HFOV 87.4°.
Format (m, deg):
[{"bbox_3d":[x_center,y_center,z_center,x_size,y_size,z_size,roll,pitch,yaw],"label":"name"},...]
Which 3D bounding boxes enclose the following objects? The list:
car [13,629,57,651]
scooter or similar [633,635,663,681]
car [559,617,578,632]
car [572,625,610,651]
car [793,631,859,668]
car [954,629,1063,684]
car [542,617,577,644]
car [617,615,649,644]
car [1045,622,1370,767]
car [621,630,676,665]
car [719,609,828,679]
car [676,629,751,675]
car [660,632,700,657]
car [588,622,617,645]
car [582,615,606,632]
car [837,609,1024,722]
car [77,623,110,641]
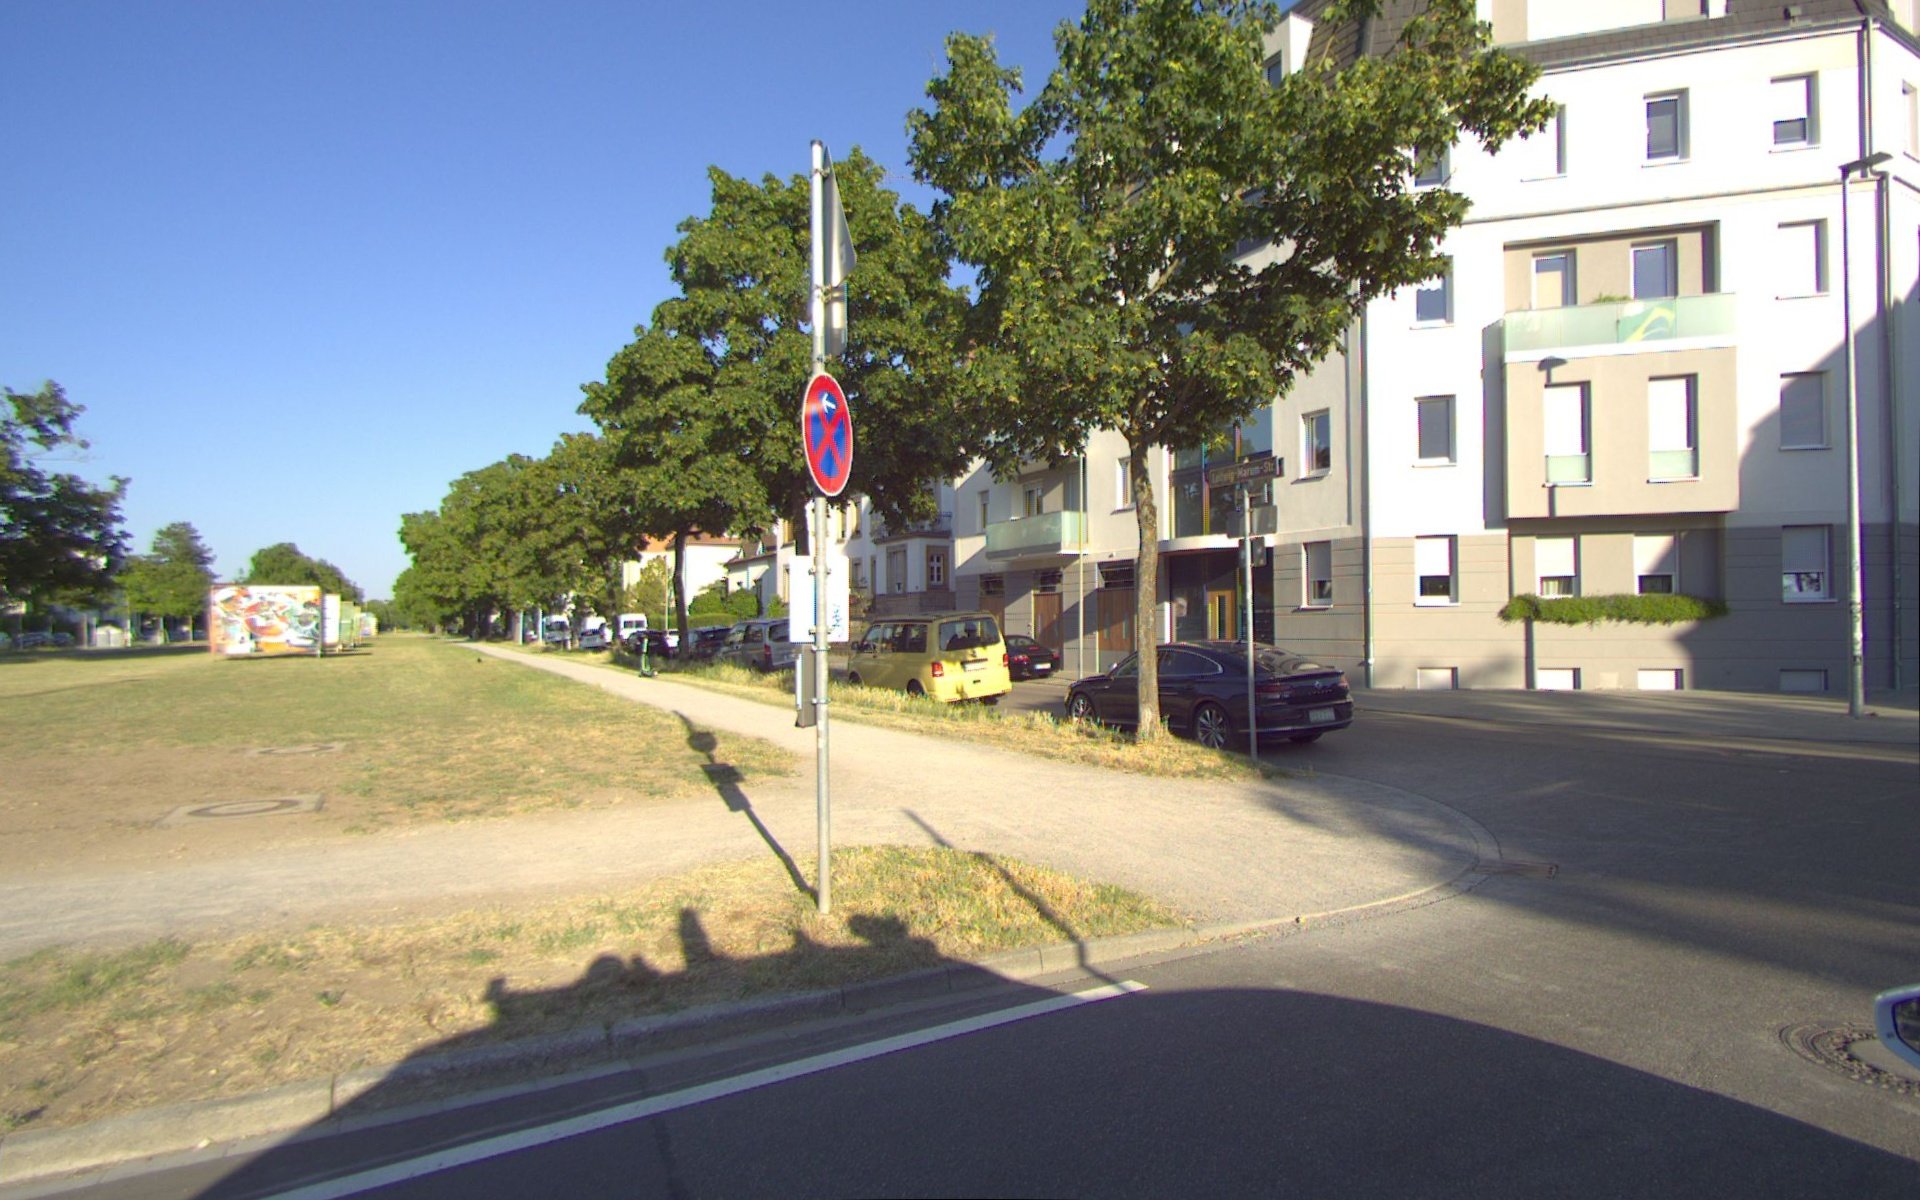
[{"bbox_3d":[-75.872,3.262,82.456,1.829,1.718,3.967,-2,0,-31],"label":"car"},{"bbox_3d":[-8.017,1.469,25.797,0.447,1.131,1.637,0,-1,-28],"label":"scooter or similar"},{"bbox_3d":[-47.583,2.969,122.032,1.824,1.765,3.870,0,-1,-26],"label":"car"},{"bbox_3d":[-23.601,2.374,64.173,1.804,1.601,3.808,0,-1,-29],"label":"car"},{"bbox_3d":[-6.293,2.275,46.885,1.804,1.601,3.808,0,-1,-29],"label":"car"},{"bbox_3d":[1.382,1.639,30.088,1.605,1.441,3.704,-2,0,-28],"label":"car"},{"bbox_3d":[-30.987,2.338,77.664,2.200,1.971,4.480,0,-1,-26],"label":"car"},{"bbox_3d":[-26.296,2.351,80.716,1.974,2.243,4.104,0,-1,-26],"label":"car"},{"bbox_3d":[3.259,1.171,14.347,1.766,1.691,4.804,0,-1,-28],"label":"car"},{"bbox_3d":[-15.021,2.255,48.298,1.804,1.601,3.808,0,-1,-29],"label":"car"},{"bbox_3d":[-5.981,1.346,31.805,2.055,2.040,4.540,1,-2,-29],"label":"car"},{"bbox_3d":[-9.145,1.868,37.083,1.804,1.601,3.808,0,-1,-29],"label":"car"},{"bbox_3d":[-19.069,3.022,68.315,1.804,1.601,3.938,0,-1,-29],"label":"car"},{"bbox_3d":[-31.798,2.917,89.255,1.974,1.971,4.104,0,-1,-26],"label":"car"},{"bbox_3d":[-36.788,2.371,100.965,1.843,1.696,4.104,0,-1,-26],"label":"car"},{"bbox_3d":[-0.782,1.309,21.689,2.008,2.040,4.658,-4,1,-29],"label":"car"},{"bbox_3d":[-89.883,3.328,104.238,1.829,1.718,3.967,-2,0,-31],"label":"car"}]
